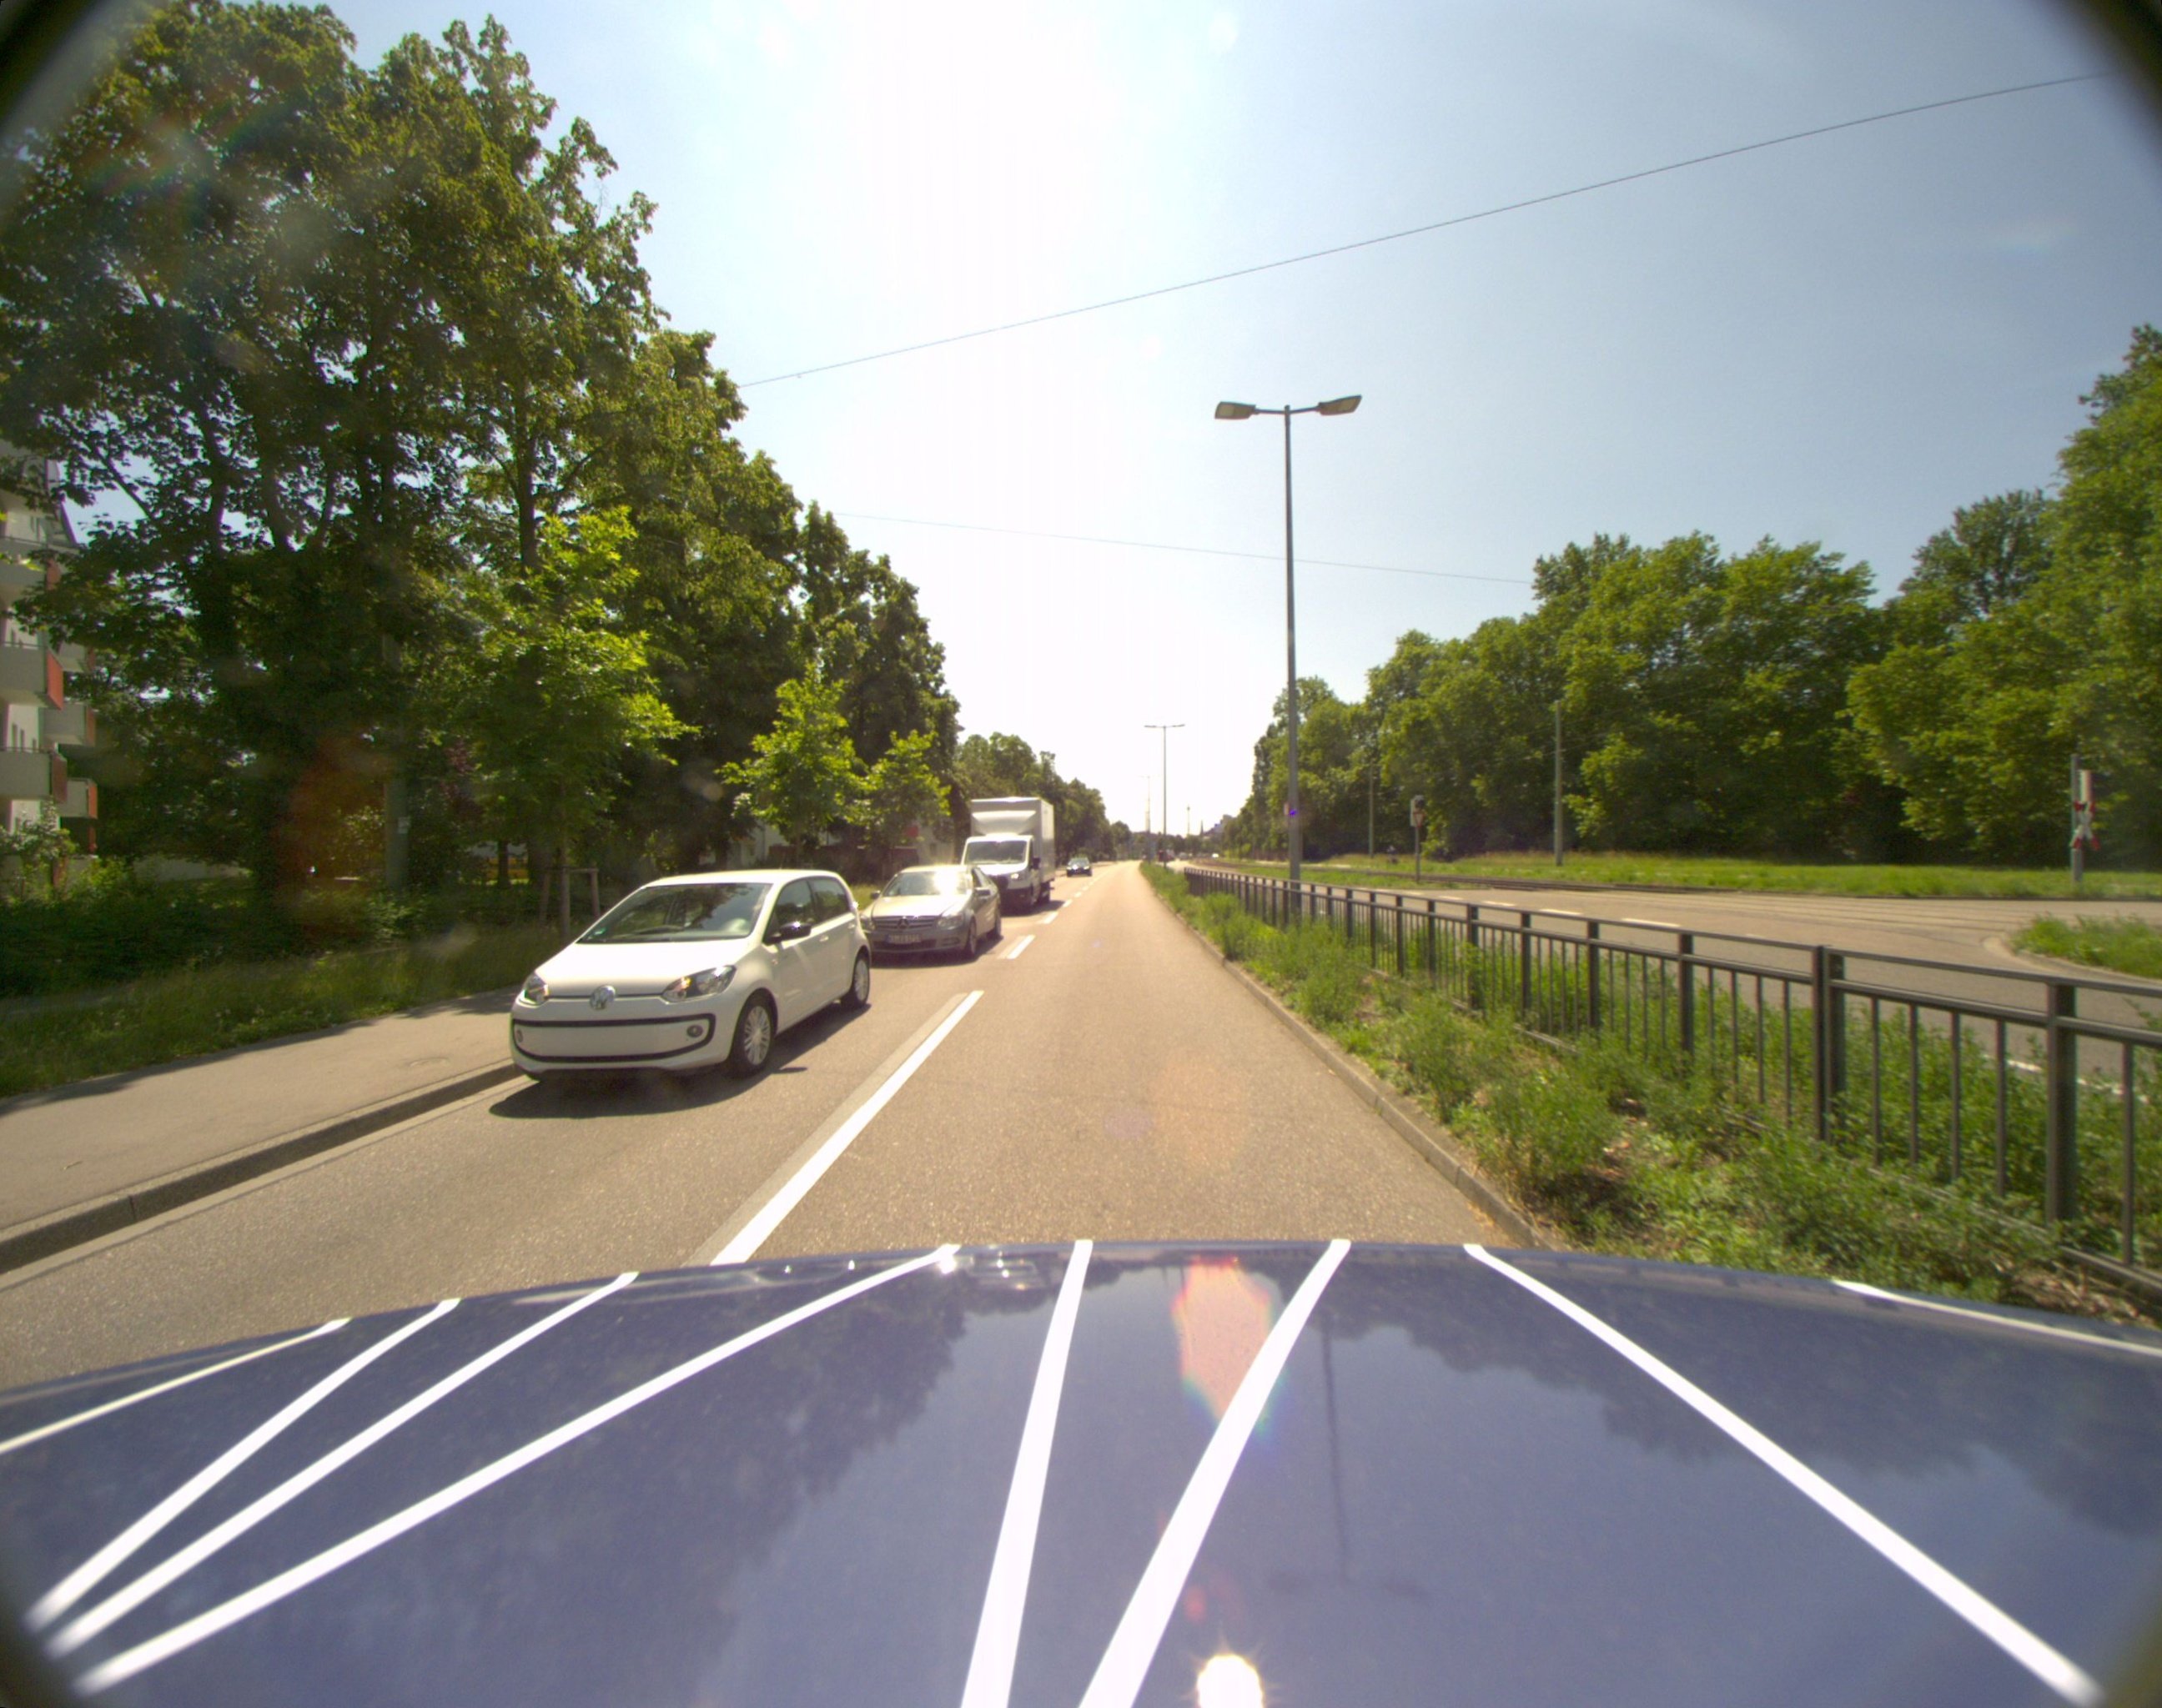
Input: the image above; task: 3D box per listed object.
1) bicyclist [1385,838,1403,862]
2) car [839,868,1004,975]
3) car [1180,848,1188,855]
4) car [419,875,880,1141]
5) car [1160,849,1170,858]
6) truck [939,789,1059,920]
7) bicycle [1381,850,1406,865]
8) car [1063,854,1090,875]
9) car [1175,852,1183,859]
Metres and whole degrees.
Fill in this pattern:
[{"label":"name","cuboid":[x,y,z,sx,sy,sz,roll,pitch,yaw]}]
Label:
[{"label":"bicyclist","cuboid":[24.292,-0.293,58.989,0.862,1.796,1.118,-1,1,1]},{"label":"car","cuboid":[-2.461,0.991,12.794,1.840,1.400,4.087,-1,0,1]},{"label":"car","cuboid":[26.939,-0.582,199.016,1.998,1.846,4.001,-1,0,5]},{"label":"car","cuboid":[-3.117,0.994,6.503,1.730,1.470,3.771,-1,0,1]},{"label":"car","cuboid":[16.633,-0.136,150.840,1.997,1.846,4.002,-1,0,7]},{"label":"truck","cuboid":[-2.225,-0.006,23.487,2.433,3.326,7.923,-1,0,3]},{"label":"bicycle","cuboid":[24.277,0.278,59.052,0.862,1.155,2.787,-1,0,1]},{"label":"car","cuboid":[-0.310,0.803,59.188,1.998,1.499,4.000,-1,0,1]},{"label":"car","cuboid":[26.799,0.358,207.135,1.998,1.847,4.001,-1,0,5]}]
